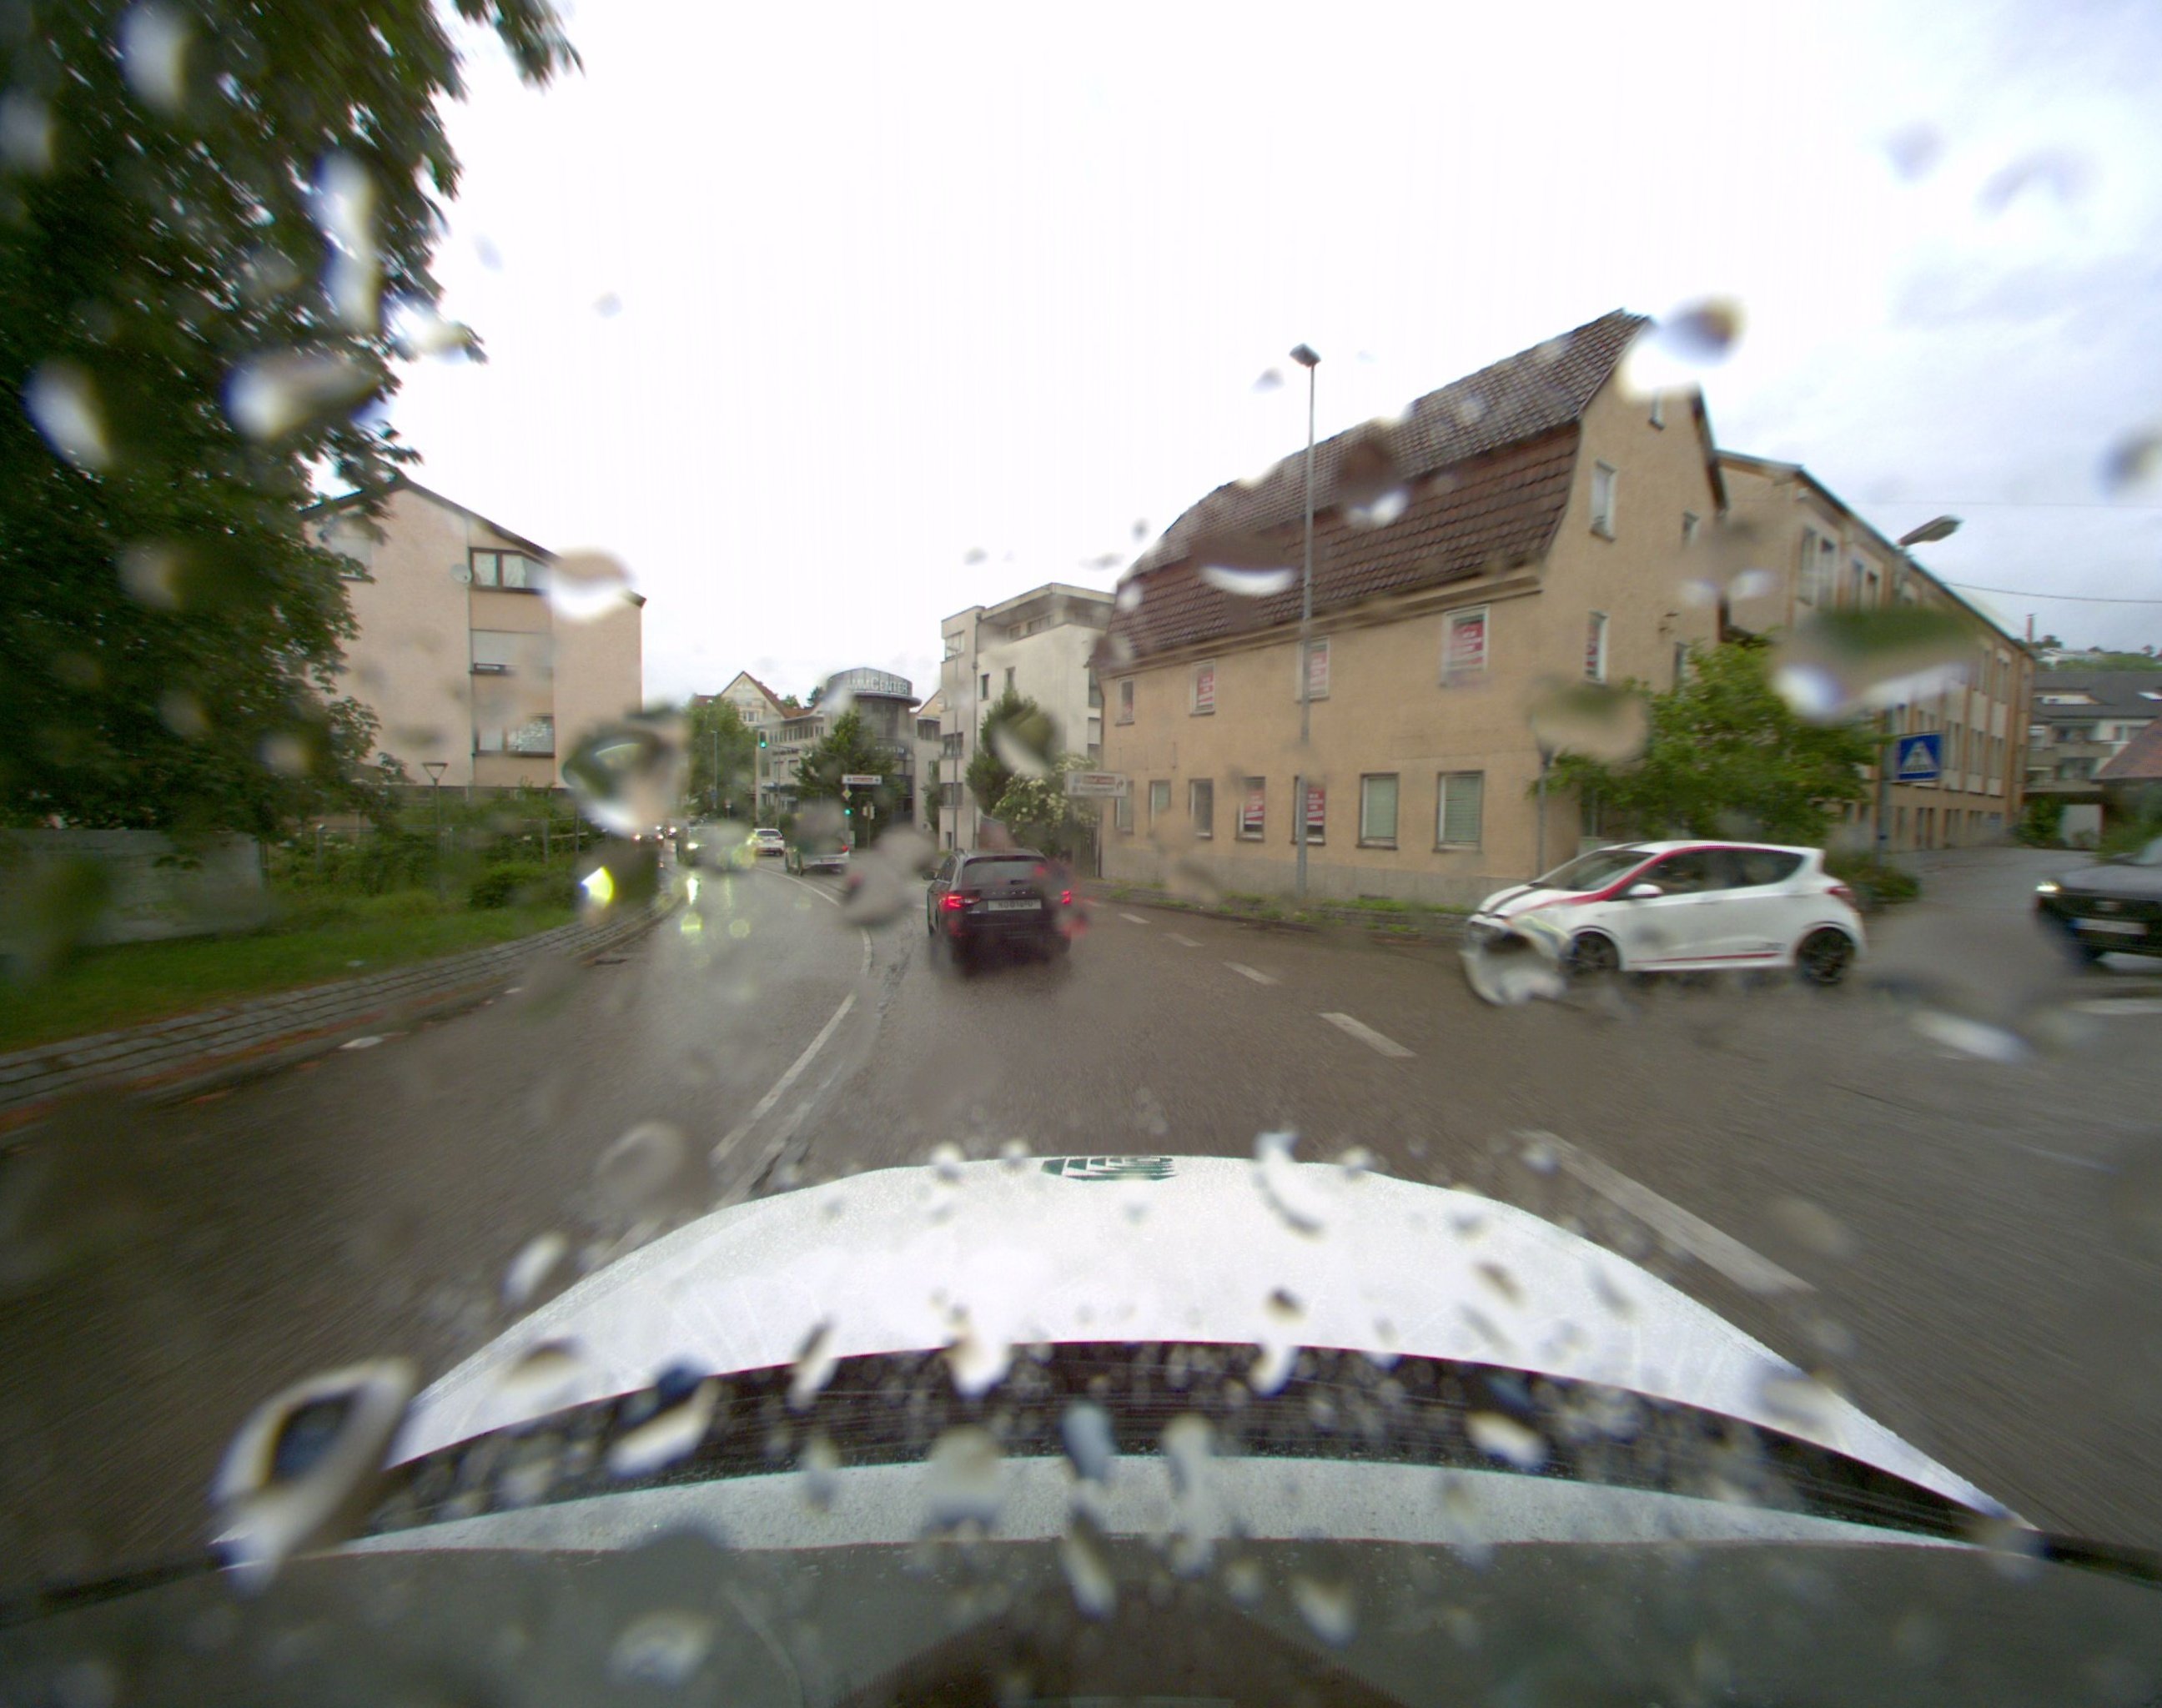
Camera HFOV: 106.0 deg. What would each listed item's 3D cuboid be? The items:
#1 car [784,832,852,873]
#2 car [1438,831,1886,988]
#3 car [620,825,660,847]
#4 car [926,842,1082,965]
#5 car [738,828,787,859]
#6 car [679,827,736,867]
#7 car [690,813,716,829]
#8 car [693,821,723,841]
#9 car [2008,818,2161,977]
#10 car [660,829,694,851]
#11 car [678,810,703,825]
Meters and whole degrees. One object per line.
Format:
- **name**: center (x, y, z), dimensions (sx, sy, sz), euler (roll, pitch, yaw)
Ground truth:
- **car**: center (-10.060, -0.121, 30.955), dimensions (1.828, 1.359, 3.955), euler (-1, 3, -28)
- **car**: center (6.204, 0.539, 9.040), dimensions (3.737, 1.453, 1.713), euler (-2, 1, 1)
- **car**: center (-29.124, -1.205, 53.718), dimensions (1.784, 1.401, 3.877), euler (-3, 3, -35)
- **car**: center (-1.343, 0.588, 12.366), dimensions (1.784, 1.483, 4.227), euler (-2, 1, -13)
- **car**: center (-17.301, -0.547, 44.145), dimensions (1.739, 1.590, 4.142), euler (0, 0, -31)
- **car**: center (-16.978, -0.367, 36.945), dimensions (1.906, 1.595, 4.314), euler (-4, 3, -30)
- **car**: center (-41.473, -3.676, 89.249), dimensions (1.867, 1.640, 3.500), euler (-3, 4, -37)
- **car**: center (-32.319, -2.019, 70.536), dimensions (1.906, 1.590, 3.651), euler (-2, 3, -32)
- **car**: center (12.943, 0.386, 8.723), dimensions (4.397, 1.573, 1.717), euler (-1, 1, -5)
- **car**: center (-32.240, -1.162, 64.888), dimensions (1.798, 1.562, 4.356), euler (0, 3, -35)
- **car**: center (-45.019, -4.214, 93.957), dimensions (1.867, 1.640, 3.829), euler (-3, 4, -37)
